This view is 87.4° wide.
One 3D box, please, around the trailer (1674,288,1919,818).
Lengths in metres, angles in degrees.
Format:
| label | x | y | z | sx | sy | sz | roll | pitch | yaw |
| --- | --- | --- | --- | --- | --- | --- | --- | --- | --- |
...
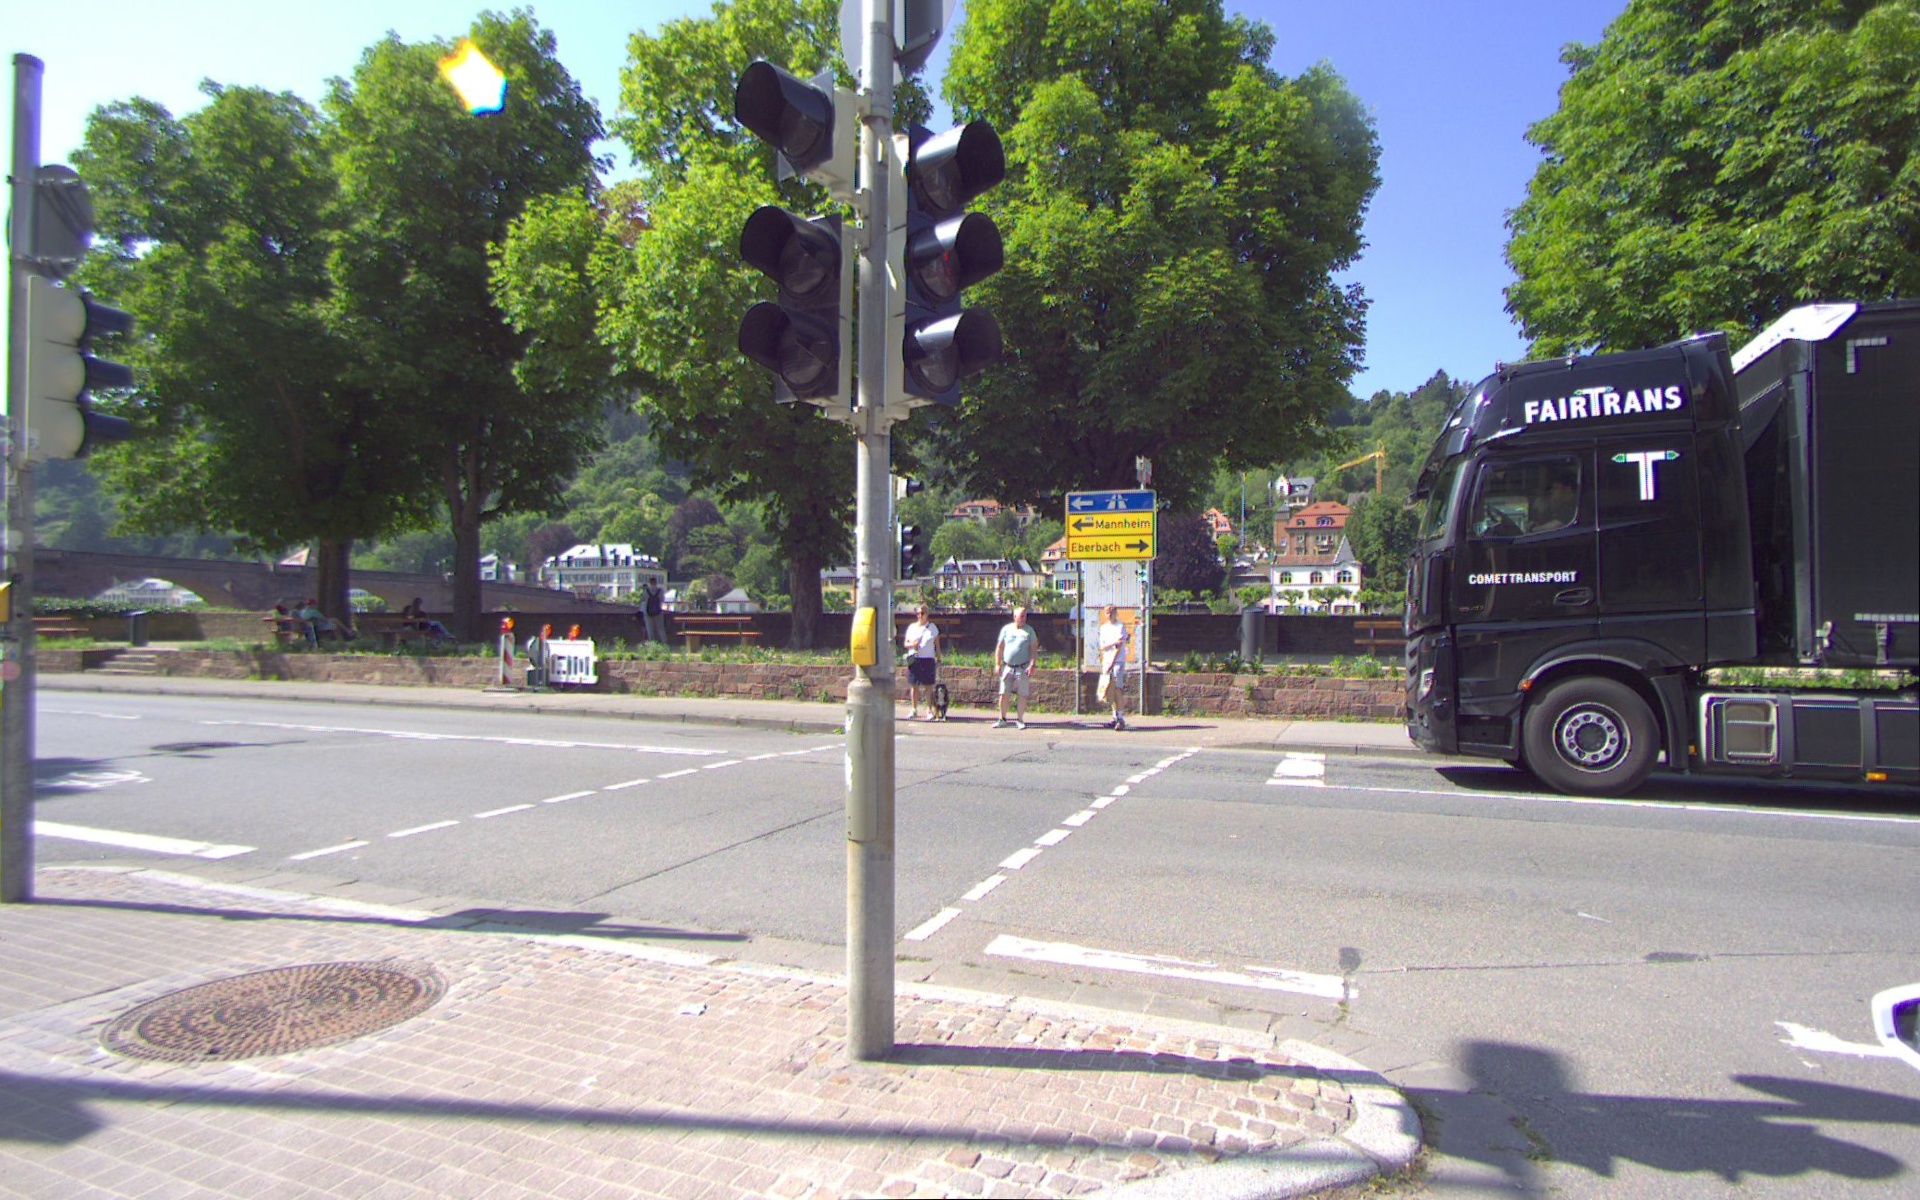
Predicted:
| label | x | y | z | sx | sy | sz | roll | pitch | yaw |
| --- | --- | --- | --- | --- | --- | --- | --- | --- | --- |
| trailer | 13.554 | -0.322 | 7.106 | 13.502 | 4.157 | 2.843 | 0 | -3 | 20 |

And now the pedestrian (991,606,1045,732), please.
| label | x | y | z | sx | sy | sz | roll | pitch | yaw |
| --- | --- | --- | --- | --- | --- | --- | --- | --- | --- |
| pedestrian | 0.865 | 0.992 | 14.749 | 0.703 | 1.793 | 0.690 | -2 | 0 | 5 |

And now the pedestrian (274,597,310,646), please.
| label | x | y | z | sx | sy | sz | roll | pitch | yaw |
| --- | --- | --- | --- | --- | --- | --- | --- | --- | --- |
| pedestrian | -18.024 | 0.588 | 27.107 | 0.460 | 1.287 | 0.631 | 0 | -2 | 25 |

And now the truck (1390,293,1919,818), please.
| label | x | y | z | sx | sy | sz | roll | pitch | yaw |
| --- | --- | --- | --- | --- | --- | --- | --- | --- | --- |
| truck | 7.306 | -0.278 | 9.450 | 5.816 | 4.124 | 2.841 | 0 | -3 | 20 |

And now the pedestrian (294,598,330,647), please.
| label | x | y | z | sx | sy | sz | roll | pitch | yaw |
| --- | --- | --- | --- | --- | --- | --- | --- | --- | --- |
| pedestrian | -17.237 | 0.609 | 26.735 | 0.460 | 1.287 | 0.631 | 0 | -2 | 25 |

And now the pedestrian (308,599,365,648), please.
| label | x | y | z | sx | sy | sz | roll | pitch | yaw |
| --- | --- | --- | --- | --- | --- | --- | --- | --- | --- |
| pedestrian | -16.619 | 0.633 | 26.793 | 0.460 | 1.287 | 1.223 | 0 | -2 | 25 |

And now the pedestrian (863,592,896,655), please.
| label | x | y | z | sx | sy | sz | roll | pitch | yaw |
| --- | --- | --- | --- | --- | --- | --- | --- | --- | --- |
| pedestrian | -1.625 | 0.478 | 20.387 | 0.631 | 1.243 | 0.414 | -1 | -5 | -4 |

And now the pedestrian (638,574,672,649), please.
| label | x | y | z | sx | sy | sz | roll | pitch | yaw |
| --- | --- | --- | --- | --- | --- | --- | --- | --- | --- |
| pedestrian | -7.808 | 0.310 | 25.715 | 0.753 | 1.882 | 0.754 | 2 | -2 | -17 |

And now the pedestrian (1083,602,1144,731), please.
| label | x | y | z | sx | sy | sz | roll | pitch | yaw |
| --- | --- | --- | --- | --- | --- | --- | --- | --- | --- |
| pedestrian | 2.238 | 0.956 | 14.648 | 0.694 | 1.825 | 0.578 | -1 | -2 | 35 |

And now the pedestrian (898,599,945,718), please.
| label | x | y | z | sx | sy | sz | roll | pitch | yaw |
| --- | --- | --- | --- | --- | --- | --- | --- | --- | --- |
| pedestrian | -0.598 | 0.914 | 15.833 | 0.621 | 1.825 | 0.725 | 1 | -2 | 6 |

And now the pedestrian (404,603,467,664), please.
| label | x | y | z | sx | sy | sz | roll | pitch | yaw |
| --- | --- | --- | --- | --- | --- | --- | --- | --- | --- |
| pedestrian | -13.197 | 0.852 | 25.303 | 0.460 | 1.499 | 1.384 | 0 | -2 | 25 |

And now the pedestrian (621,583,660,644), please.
| label | x | y | z | sx | sy | sz | roll | pitch | yaw |
| --- | --- | --- | --- | --- | --- | --- | --- | --- | --- |
| pedestrian | -9.269 | 0.396 | 29.159 | 0.696 | 1.754 | 0.757 | 1 | -2 | 17 |

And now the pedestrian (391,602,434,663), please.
| label | x | y | z | sx | sy | sz | roll | pitch | yaw |
| --- | --- | --- | --- | --- | --- | --- | --- | --- | --- |
| pedestrian | -13.788 | 0.822 | 25.301 | 0.460 | 1.512 | 0.804 | 0 | -2 | 25 |
